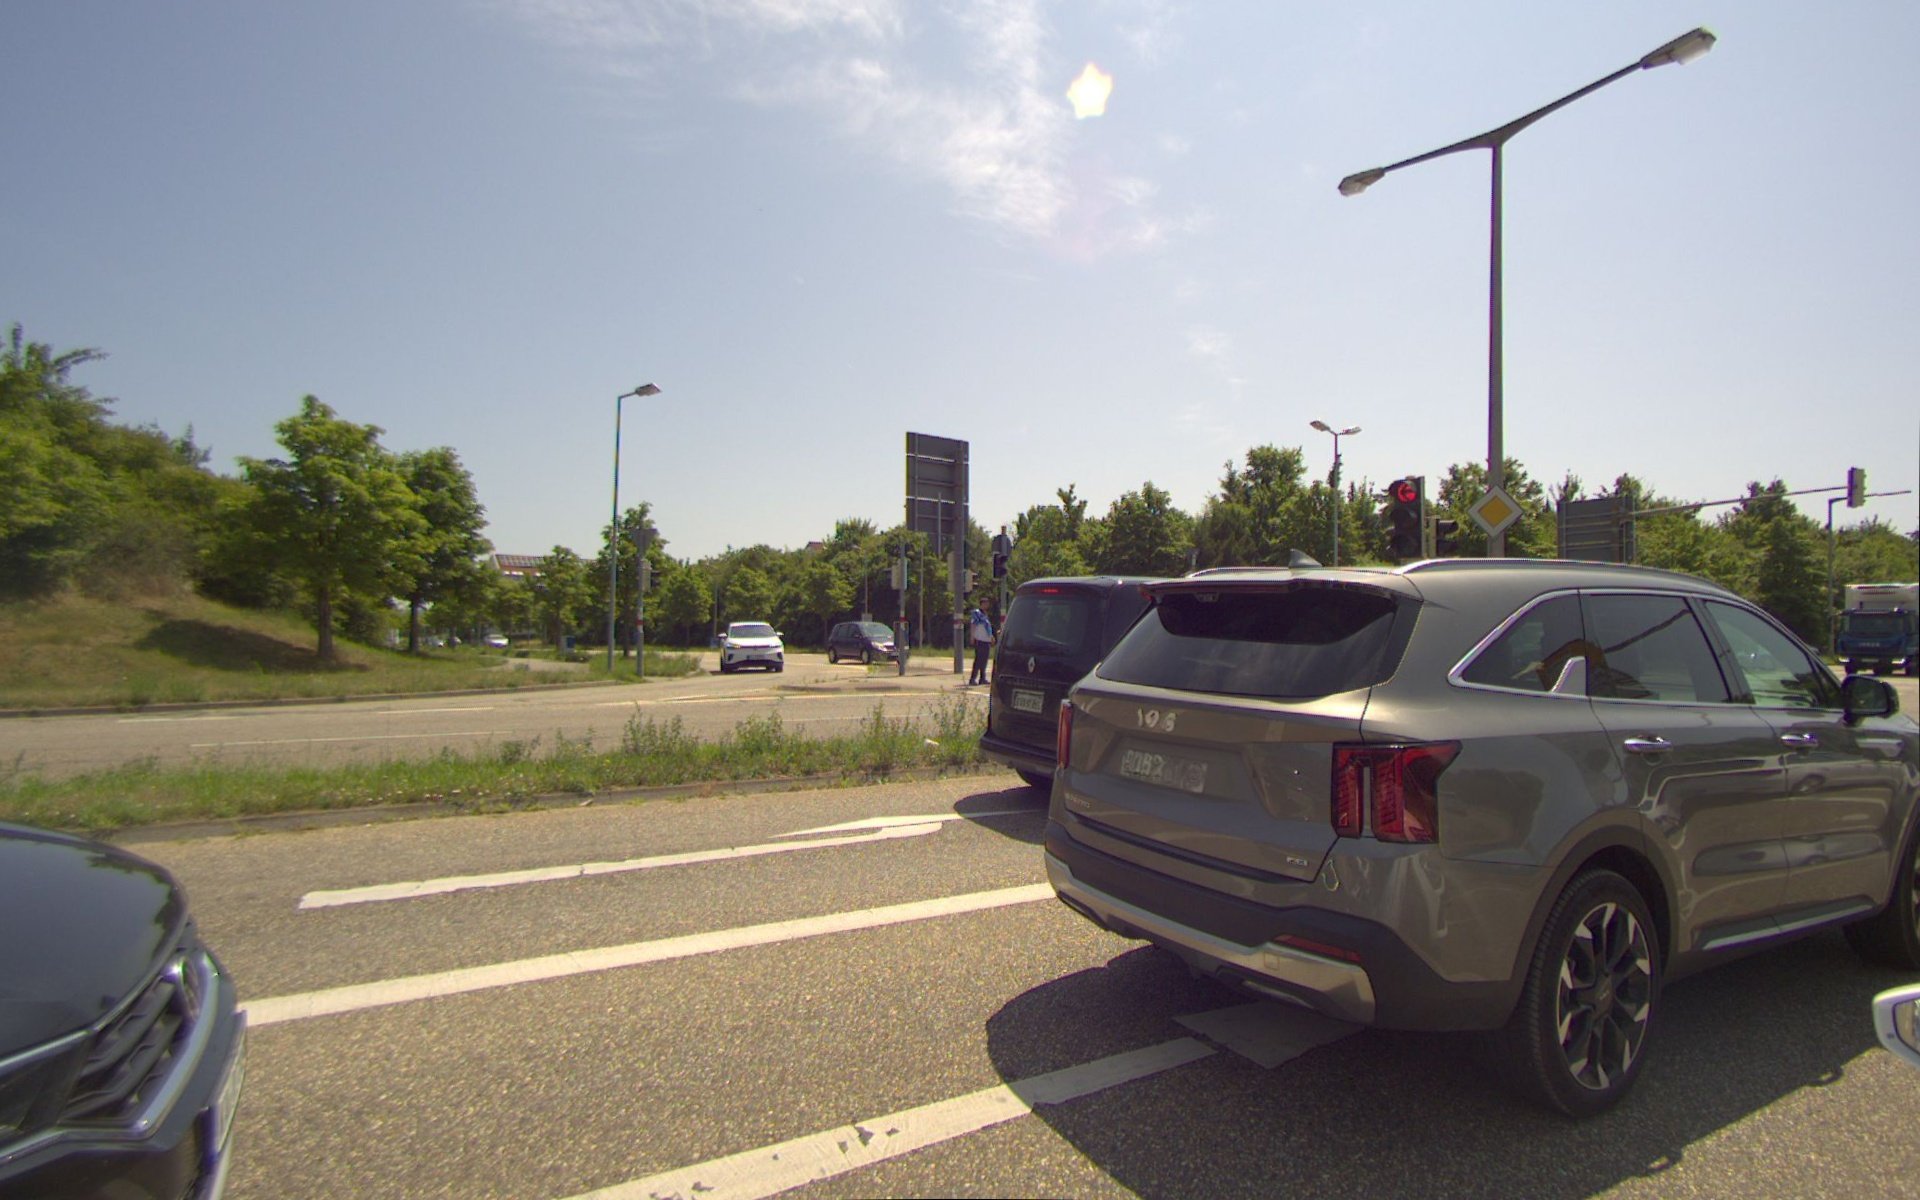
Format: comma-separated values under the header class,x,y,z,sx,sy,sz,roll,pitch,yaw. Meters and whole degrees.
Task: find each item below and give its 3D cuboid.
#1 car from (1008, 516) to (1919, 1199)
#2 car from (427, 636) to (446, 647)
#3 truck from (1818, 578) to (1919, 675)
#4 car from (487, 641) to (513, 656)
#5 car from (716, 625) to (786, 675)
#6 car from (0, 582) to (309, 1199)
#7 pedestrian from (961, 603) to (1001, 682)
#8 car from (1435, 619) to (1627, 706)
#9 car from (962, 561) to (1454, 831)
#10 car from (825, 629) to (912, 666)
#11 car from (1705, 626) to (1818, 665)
class,x,y,z,sx,sy,sz,roll,pitch,yaw
car,2.618,0.719,4.421,4.590,1.684,1.795,2,-2,-31
car,-66.544,5.260,127.604,1.617,1.379,3.961,2,-2,-35
truck,37.751,1.098,40.528,7.184,3.618,2.674,1,-1,-31
car,-45.223,4.760,98.738,1.617,1.379,3.961,2,-2,-35
car,-6.871,1.592,32.725,1.849,1.521,4.294,1,-2,-17
car,-3.101,0.678,1.044,3.925,1.531,1.726,2,-1,-31
pedestrian,0.478,0.961,22.702,0.779,1.759,0.582,1,-1,-11
car,12.105,1.279,21.243,4.173,1.685,1.699,1,-2,-30
car,2.276,0.722,8.774,4.274,1.850,1.721,2,-2,-33
car,-3.584,1.804,38.701,1.685,1.353,3.964,2,-2,-33
car,37.468,2.115,46.947,4.849,1.754,1.821,1,-2,-19
